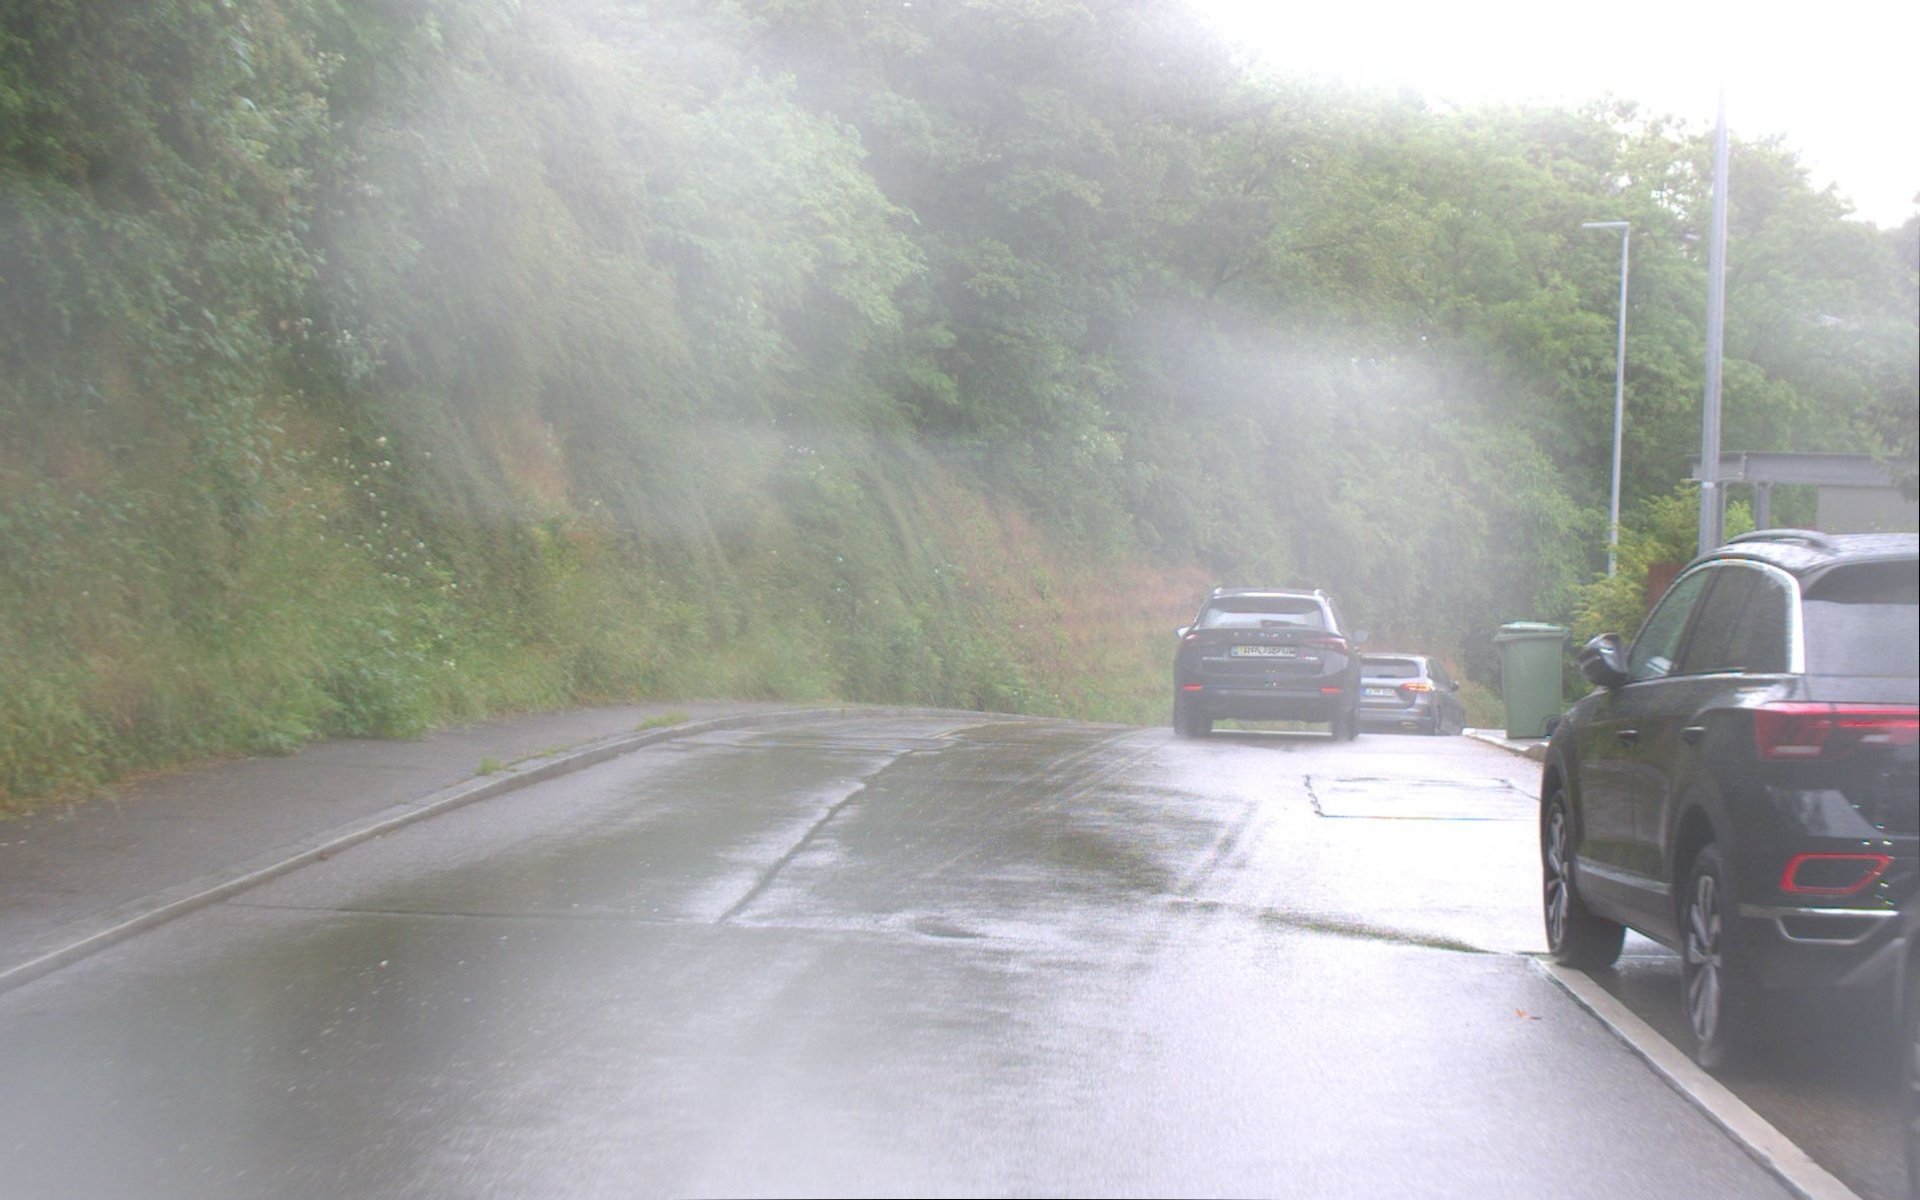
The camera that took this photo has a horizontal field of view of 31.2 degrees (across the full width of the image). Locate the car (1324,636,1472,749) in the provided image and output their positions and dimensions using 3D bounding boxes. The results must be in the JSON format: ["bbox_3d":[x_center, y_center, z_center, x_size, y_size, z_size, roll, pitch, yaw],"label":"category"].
[{"bbox_3d":[7.391,1.512,57.668,1.995,1.600,4.406,2,2,13],"label":"car"}]

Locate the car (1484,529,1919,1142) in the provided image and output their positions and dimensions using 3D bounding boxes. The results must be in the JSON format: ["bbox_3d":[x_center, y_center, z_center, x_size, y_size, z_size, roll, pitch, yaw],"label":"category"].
[{"bbox_3d":[2.966,0.592,11.267,1.875,1.586,4.479,2,1,1],"label":"car"}]

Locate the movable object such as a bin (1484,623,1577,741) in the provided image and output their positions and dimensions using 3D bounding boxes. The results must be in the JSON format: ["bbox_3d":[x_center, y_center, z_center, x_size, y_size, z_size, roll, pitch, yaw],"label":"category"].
[{"bbox_3d":[5.464,0.786,32.959,0.789,1.092,0.675,-2,-1,5],"label":"movable object such as a bin"}]

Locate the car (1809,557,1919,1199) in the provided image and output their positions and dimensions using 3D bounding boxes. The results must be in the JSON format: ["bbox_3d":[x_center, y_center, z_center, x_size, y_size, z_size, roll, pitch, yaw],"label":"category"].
[{"bbox_3d":[2.908,0.713,6.158,1.756,1.457,4.301,2,2,2],"label":"car"}]

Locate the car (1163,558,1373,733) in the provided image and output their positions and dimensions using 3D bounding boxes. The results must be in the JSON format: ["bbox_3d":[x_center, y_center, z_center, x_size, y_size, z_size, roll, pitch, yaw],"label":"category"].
[{"bbox_3d":[3.049,0.502,34.143,1.869,1.507,4.091,3,-2,5],"label":"car"}]
